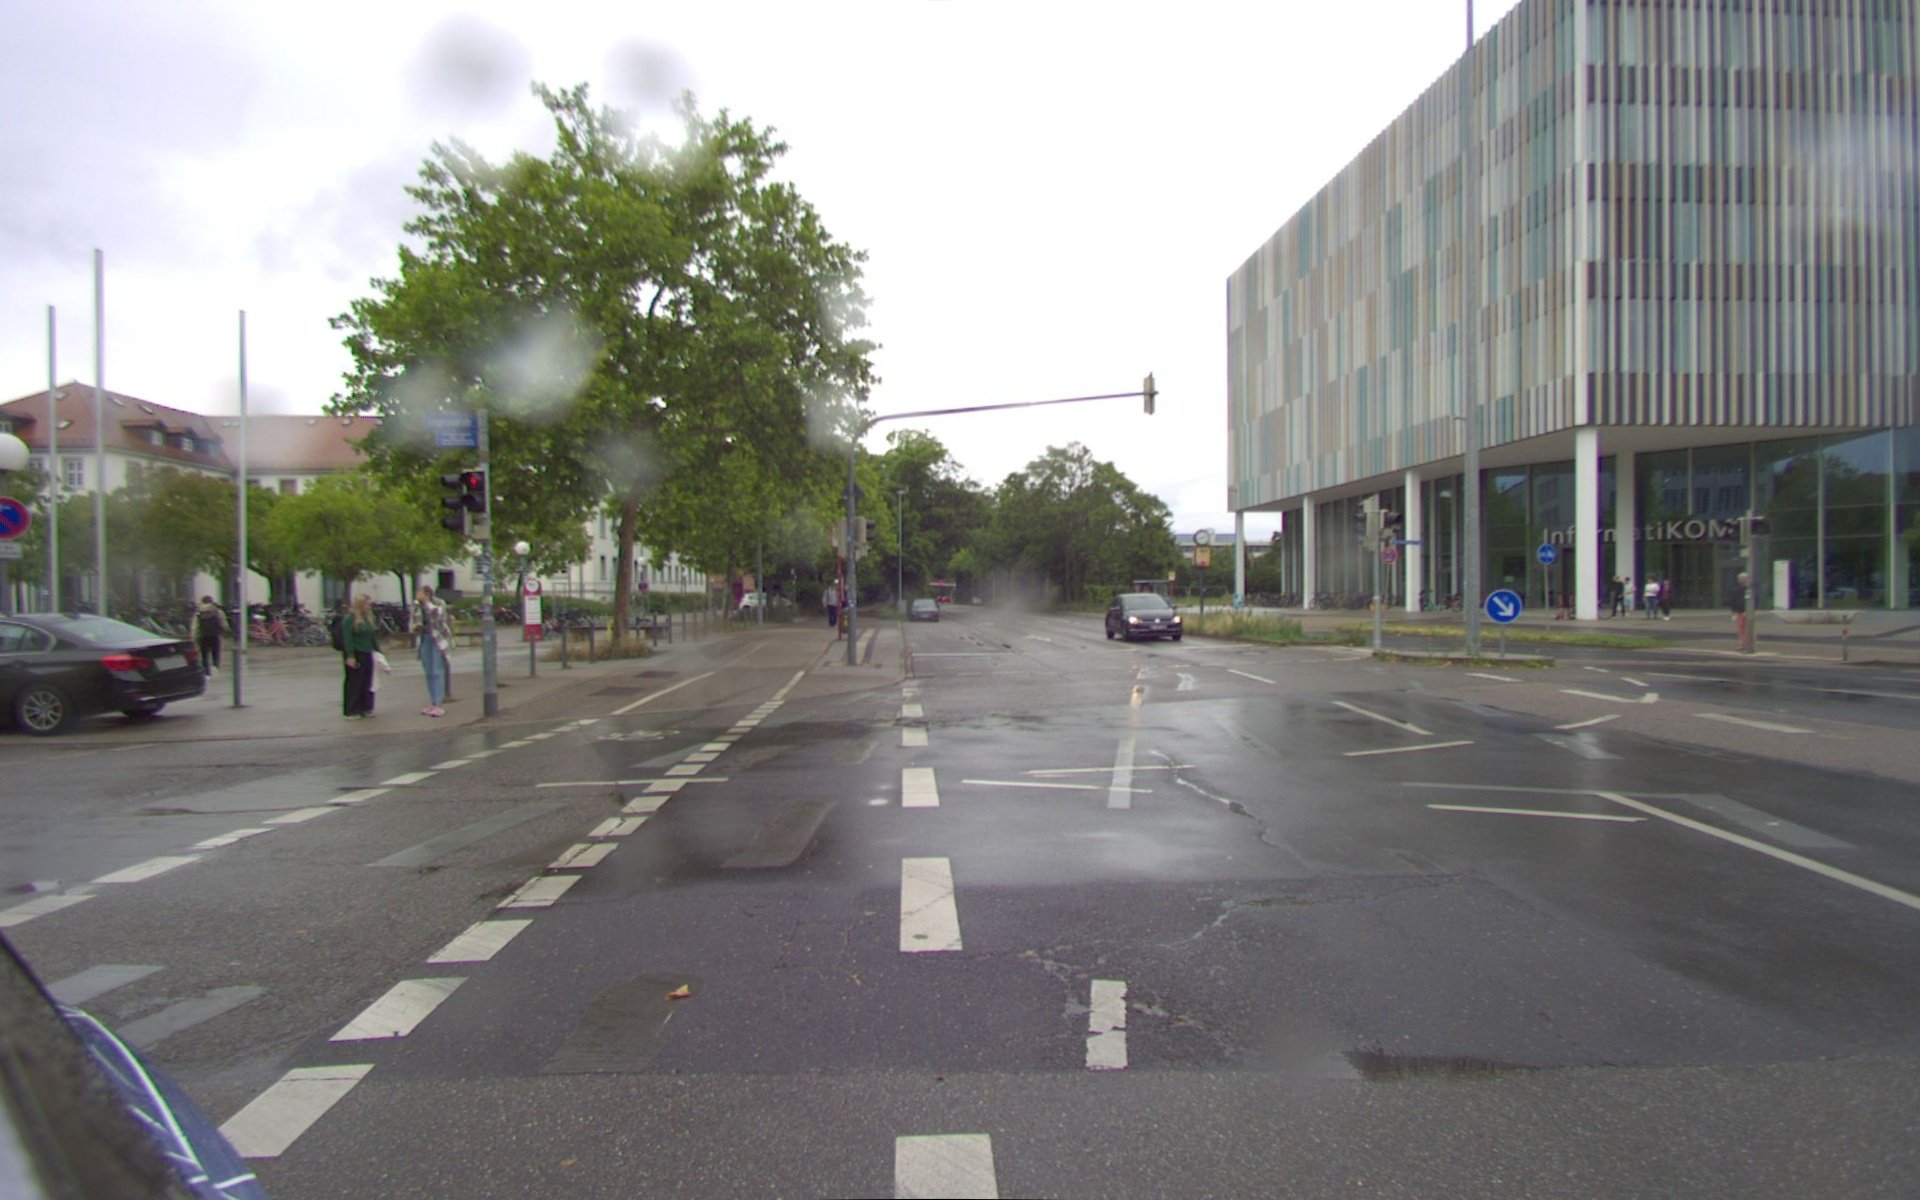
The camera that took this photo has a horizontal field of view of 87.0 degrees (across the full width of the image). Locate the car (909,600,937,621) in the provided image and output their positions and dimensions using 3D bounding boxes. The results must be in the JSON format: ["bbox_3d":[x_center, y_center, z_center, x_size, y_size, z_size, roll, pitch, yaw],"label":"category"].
[{"bbox_3d":[-2.331,0.642,63.071,1.637,1.276,4.109,-1,0,-3],"label":"car"}]

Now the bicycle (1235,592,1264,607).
[{"bbox_3d":[24.278,-0.053,84.778,2.260,1.231,0.597,-1,0,9],"label":"bicycle"}]

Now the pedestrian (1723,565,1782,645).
[{"bbox_3d":[18.607,0.110,23.775,0.773,1.838,0.798,-1,0,-24],"label":"pedestrian"}]

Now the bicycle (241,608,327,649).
[{"bbox_3d":[-21.777,0.908,32.637,2.248,1.231,0.600,-1,0,-13],"label":"bicycle"}]

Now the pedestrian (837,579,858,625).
[{"bbox_3d":[-4.549,0.077,40.740,0.614,1.838,0.789,-1,0,-23],"label":"pedestrian"}]

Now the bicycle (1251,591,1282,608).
[{"bbox_3d":[23.907,-0.046,79.016,2.260,1.231,0.597,-1,0,9],"label":"bicycle"}]

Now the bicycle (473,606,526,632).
[{"bbox_3d":[-22.164,0.910,48.756,2.248,1.231,0.600,-1,0,-13],"label":"bicycle"}]

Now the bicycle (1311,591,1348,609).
[{"bbox_3d":[25.091,0.009,68.748,2.260,1.231,0.597,-1,0,9],"label":"bicycle"}]

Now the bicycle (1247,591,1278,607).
[{"bbox_3d":[23.837,-0.046,79.899,2.260,1.231,0.597,-1,0,9],"label":"bicycle"}]

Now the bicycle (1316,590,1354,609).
[{"bbox_3d":[24.871,-0.057,67.126,2.260,1.231,0.597,-1,0,9],"label":"bicycle"}]

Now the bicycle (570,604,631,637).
[{"bbox_3d":[-14.295,0.808,40.269,2.248,1.231,0.600,-1,0,-13],"label":"bicycle"}]

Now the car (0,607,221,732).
[{"bbox_3d":[-12.056,0.843,12.591,4.324,1.347,1.775,-1,3,-4],"label":"car"}]

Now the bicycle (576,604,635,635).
[{"bbox_3d":[-14.636,0.812,41.798,2.248,1.231,0.600,-1,0,-13],"label":"bicycle"}]

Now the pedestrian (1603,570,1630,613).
[{"bbox_3d":[28.224,-0.355,43.510,0.773,1.838,0.627,-1,0,-24],"label":"pedestrian"}]

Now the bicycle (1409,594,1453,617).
[{"bbox_3d":[25.929,0.275,55.695,2.248,1.231,0.600,-1,0,-13],"label":"bicycle"}]

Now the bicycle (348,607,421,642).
[{"bbox_3d":[-21.103,0.898,37.125,2.248,1.231,0.600,-1,0,-13],"label":"bicycle"}]

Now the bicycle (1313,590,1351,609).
[{"bbox_3d":[24.976,-0.058,67.954,2.260,1.231,0.597,-1,0,9],"label":"bicycle"}]

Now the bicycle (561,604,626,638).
[{"bbox_3d":[-13.959,0.804,38.604,2.248,1.231,0.600,-1,0,-13],"label":"bicycle"}]

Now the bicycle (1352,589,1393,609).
[{"bbox_3d":[25.690,-0.066,63.045,2.260,1.231,0.597,-1,0,9],"label":"bicycle"}]

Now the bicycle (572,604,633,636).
[{"bbox_3d":[-14.495,0.811,41.067,2.248,1.231,0.600,-1,0,-13],"label":"bicycle"}]

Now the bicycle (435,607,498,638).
[{"bbox_3d":[-20.460,0.911,41.969,2.248,1.231,0.600,-1,0,-13],"label":"bicycle"}]

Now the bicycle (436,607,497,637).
[{"bbox_3d":[-21.184,0.920,43.482,2.248,1.231,0.600,-1,0,-13],"label":"bicycle"}]

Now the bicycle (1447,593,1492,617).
[{"bbox_3d":[26.798,0.264,53.205,2.248,1.231,0.600,-1,0,-13],"label":"bicycle"}]

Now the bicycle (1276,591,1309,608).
[{"bbox_3d":[25.037,-0.061,76.123,2.260,1.231,0.597,-1,0,9],"label":"bicycle"}]

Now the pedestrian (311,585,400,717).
[{"bbox_3d":[-7.818,0.631,13.075,0.863,1.619,0.865,-1,0,-39],"label":"pedestrian"}]

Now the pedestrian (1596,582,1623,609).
[{"bbox_3d":[27.459,-0.189,42.775,0.616,1.161,0.786,-1,0,1],"label":"pedestrian"}]

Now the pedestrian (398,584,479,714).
[{"bbox_3d":[-6.817,0.617,13.271,0.862,1.619,0.866,-1,0,-23],"label":"pedestrian"}]

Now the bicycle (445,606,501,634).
[{"bbox_3d":[-22.149,0.910,46.058,2.248,1.231,0.600,-1,0,-13],"label":"bicycle"}]

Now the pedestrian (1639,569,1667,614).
[{"bbox_3d":[28.410,-0.357,41.476,0.773,1.838,0.627,-1,0,-24],"label":"pedestrian"}]

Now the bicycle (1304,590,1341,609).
[{"bbox_3d":[24.956,-0.041,69.704,2.260,1.231,0.597,-1,0,9],"label":"bicycle"}]

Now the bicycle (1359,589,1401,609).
[{"bbox_3d":[25.696,-0.066,61.957,2.260,1.231,0.597,-1,0,9],"label":"bicycle"}]

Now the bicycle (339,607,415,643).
[{"bbox_3d":[-20.797,0.895,36.138,2.248,1.231,0.600,-1,0,-13],"label":"bicycle"}]

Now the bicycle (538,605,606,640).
[{"bbox_3d":[-14.176,0.807,36.997,2.248,1.231,0.600,-1,0,-13],"label":"bicycle"}]

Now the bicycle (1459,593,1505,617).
[{"bbox_3d":[27.145,0.260,52.595,2.248,1.231,0.600,-1,0,-13],"label":"bicycle"}]

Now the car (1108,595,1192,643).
[{"bbox_3d":[5.821,0.541,31.495,1.637,1.375,4.109,-1,0,-3],"label":"car"}]

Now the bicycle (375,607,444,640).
[{"bbox_3d":[-21.111,0.898,38.854,2.248,1.231,0.600,-1,0,-13],"label":"bicycle"}]

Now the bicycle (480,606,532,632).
[{"bbox_3d":[-22.358,0.912,49.824,2.248,1.231,0.600,-1,0,-13],"label":"bicycle"}]

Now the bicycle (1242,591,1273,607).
[{"bbox_3d":[23.819,-0.046,81.011,2.260,1.231,0.597,-1,0,9],"label":"bicycle"}]

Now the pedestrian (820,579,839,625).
[{"bbox_3d":[-5.250,0.087,40.603,0.614,1.838,0.789,-1,0,-15],"label":"pedestrian"}]

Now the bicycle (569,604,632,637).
[{"bbox_3d":[-14.049,0.805,39.588,2.248,1.231,0.600,-1,0,-13],"label":"bicycle"}]

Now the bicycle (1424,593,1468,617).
[{"bbox_3d":[26.234,0.271,54.603,2.248,1.231,0.600,-1,0,-13],"label":"bicycle"}]

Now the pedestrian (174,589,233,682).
[{"bbox_3d":[-14.919,0.680,19.985,0.835,1.751,1.126,-1,0,-33],"label":"pedestrian"}]

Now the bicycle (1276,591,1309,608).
[{"bbox_3d":[24.778,-0.057,75.414,2.260,1.231,0.597,-1,0,9],"label":"bicycle"}]

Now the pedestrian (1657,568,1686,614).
[{"bbox_3d":[28.550,-0.358,40.601,0.773,1.838,0.627,-1,0,-24],"label":"pedestrian"}]

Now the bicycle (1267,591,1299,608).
[{"bbox_3d":[24.684,-0.056,77.393,2.260,1.231,0.597,-1,0,9],"label":"bicycle"}]

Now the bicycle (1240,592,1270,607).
[{"bbox_3d":[23.978,-0.048,82.405,2.260,1.231,0.597,-1,0,9],"label":"bicycle"}]

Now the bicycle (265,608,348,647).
[{"bbox_3d":[-21.609,0.906,33.494,2.248,1.231,0.600,-1,0,-13],"label":"bicycle"}]

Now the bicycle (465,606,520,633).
[{"bbox_3d":[-22.035,0.908,47.750,2.248,1.231,0.600,-1,0,-13],"label":"bicycle"}]

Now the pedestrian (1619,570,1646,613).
[{"bbox_3d":[29.208,-0.368,43.963,0.773,1.838,0.627,-1,0,-24],"label":"pedestrian"}]

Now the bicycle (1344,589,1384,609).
[{"bbox_3d":[25.578,-0.065,64.079,2.260,1.231,0.597,-1,0,9],"label":"bicycle"}]

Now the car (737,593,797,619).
[{"bbox_3d":[-14.577,0.446,76.499,4.356,1.887,1.641,-1,0,-8],"label":"car"}]

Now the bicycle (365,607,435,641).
[{"bbox_3d":[-21.035,0.897,38.048,2.248,1.231,0.600,-1,0,-13],"label":"bicycle"}]
